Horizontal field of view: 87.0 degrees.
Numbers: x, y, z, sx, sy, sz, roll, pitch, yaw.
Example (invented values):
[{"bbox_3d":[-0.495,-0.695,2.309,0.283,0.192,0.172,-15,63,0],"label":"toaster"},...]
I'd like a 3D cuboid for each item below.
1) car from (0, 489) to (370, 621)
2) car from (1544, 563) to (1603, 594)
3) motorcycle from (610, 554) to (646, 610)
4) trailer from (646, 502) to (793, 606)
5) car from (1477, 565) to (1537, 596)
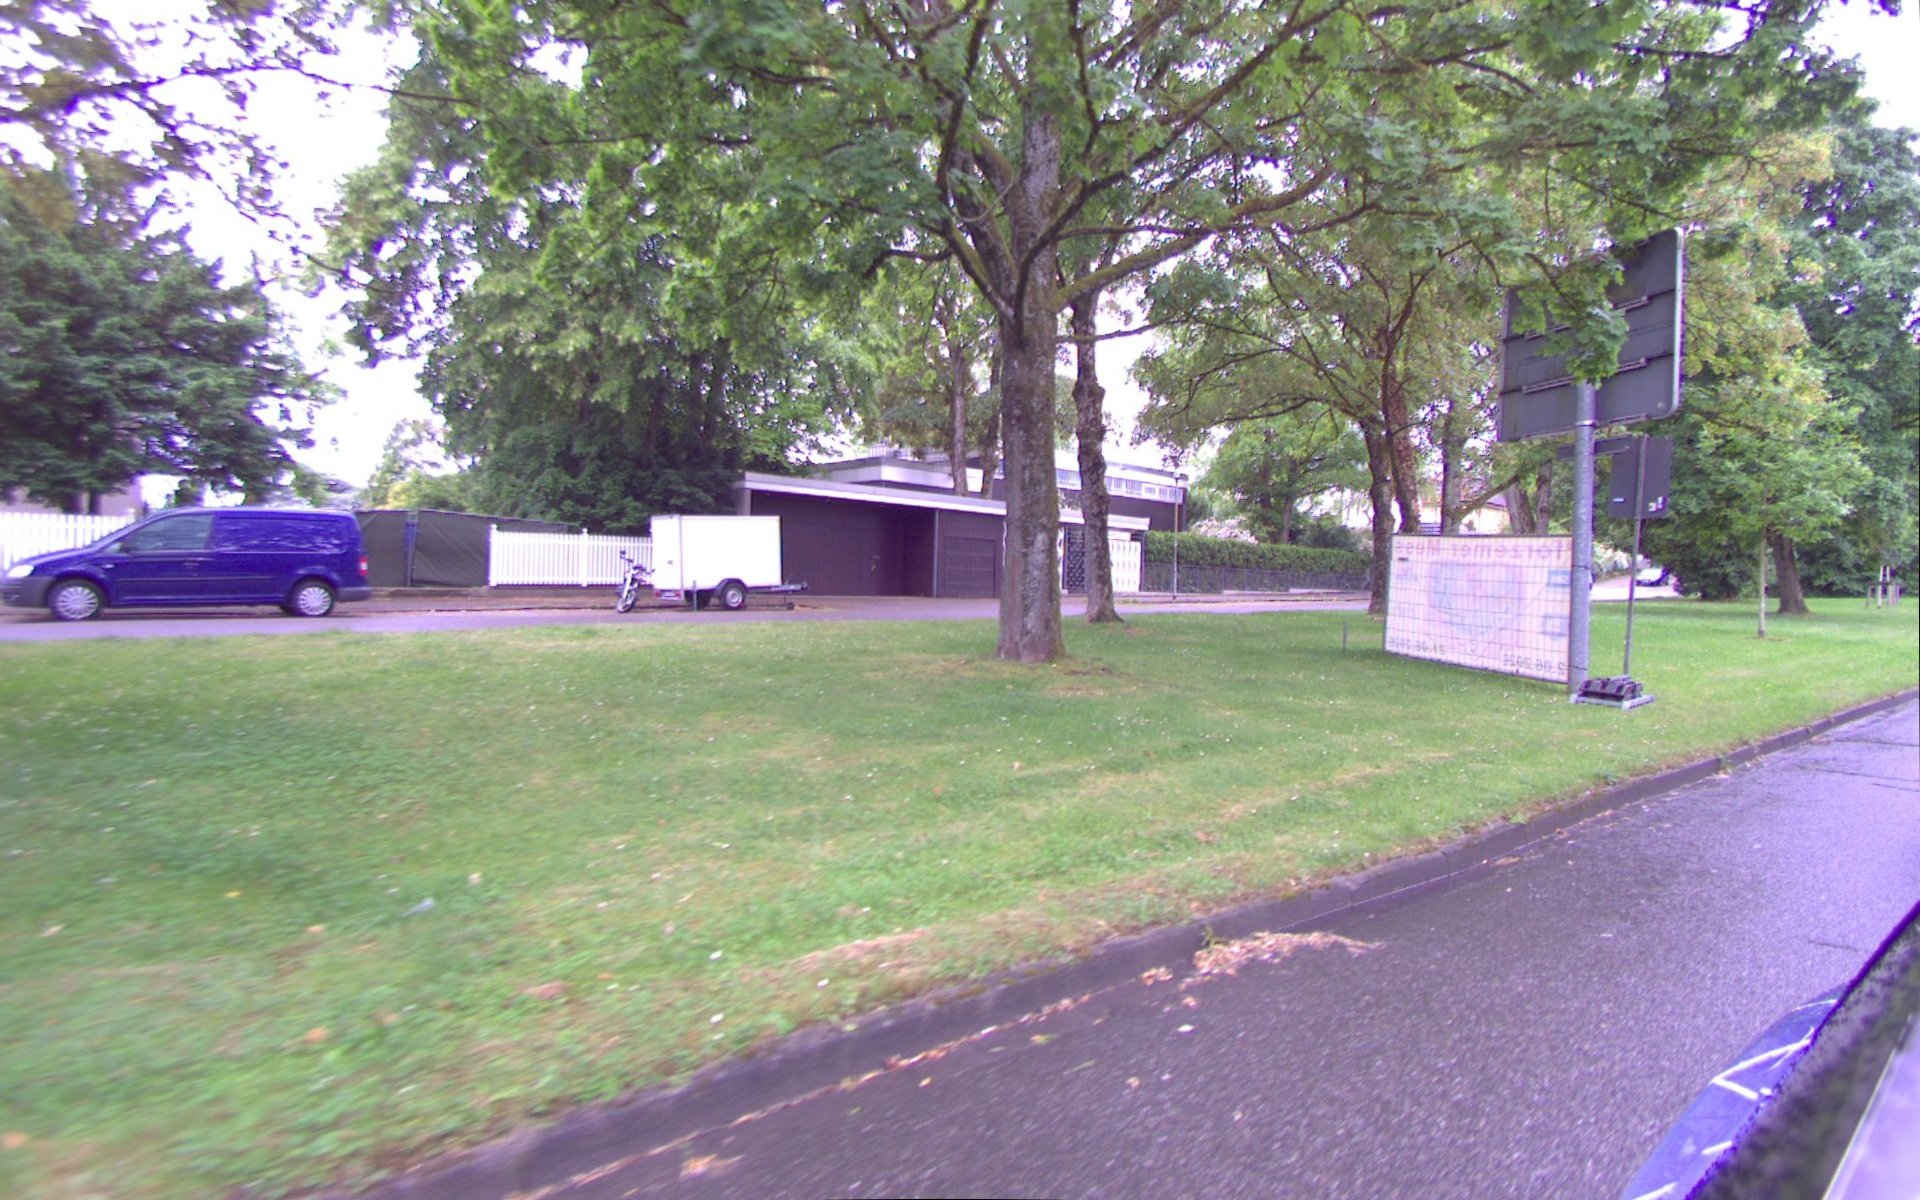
[{"bbox_3d":[-12.376,-0.690,16.373,4.570,1.831,1.944,0,3,-43],"label":"car"},{"bbox_3d":[41.360,-1.487,68.202,4.986,1.901,2.162,-3,4,-43],"label":"car"},{"bbox_3d":[-6.967,-0.387,21.183,0.645,1.106,1.896,1,1,-20],"label":"motorcycle"},{"bbox_3d":[-5.397,-1.024,22.841,1.437,2.181,2.903,3,3,45],"label":"trailer"},{"bbox_3d":[31.753,-1.170,58.687,3.968,1.644,1.904,-3,4,-43],"label":"car"}]
